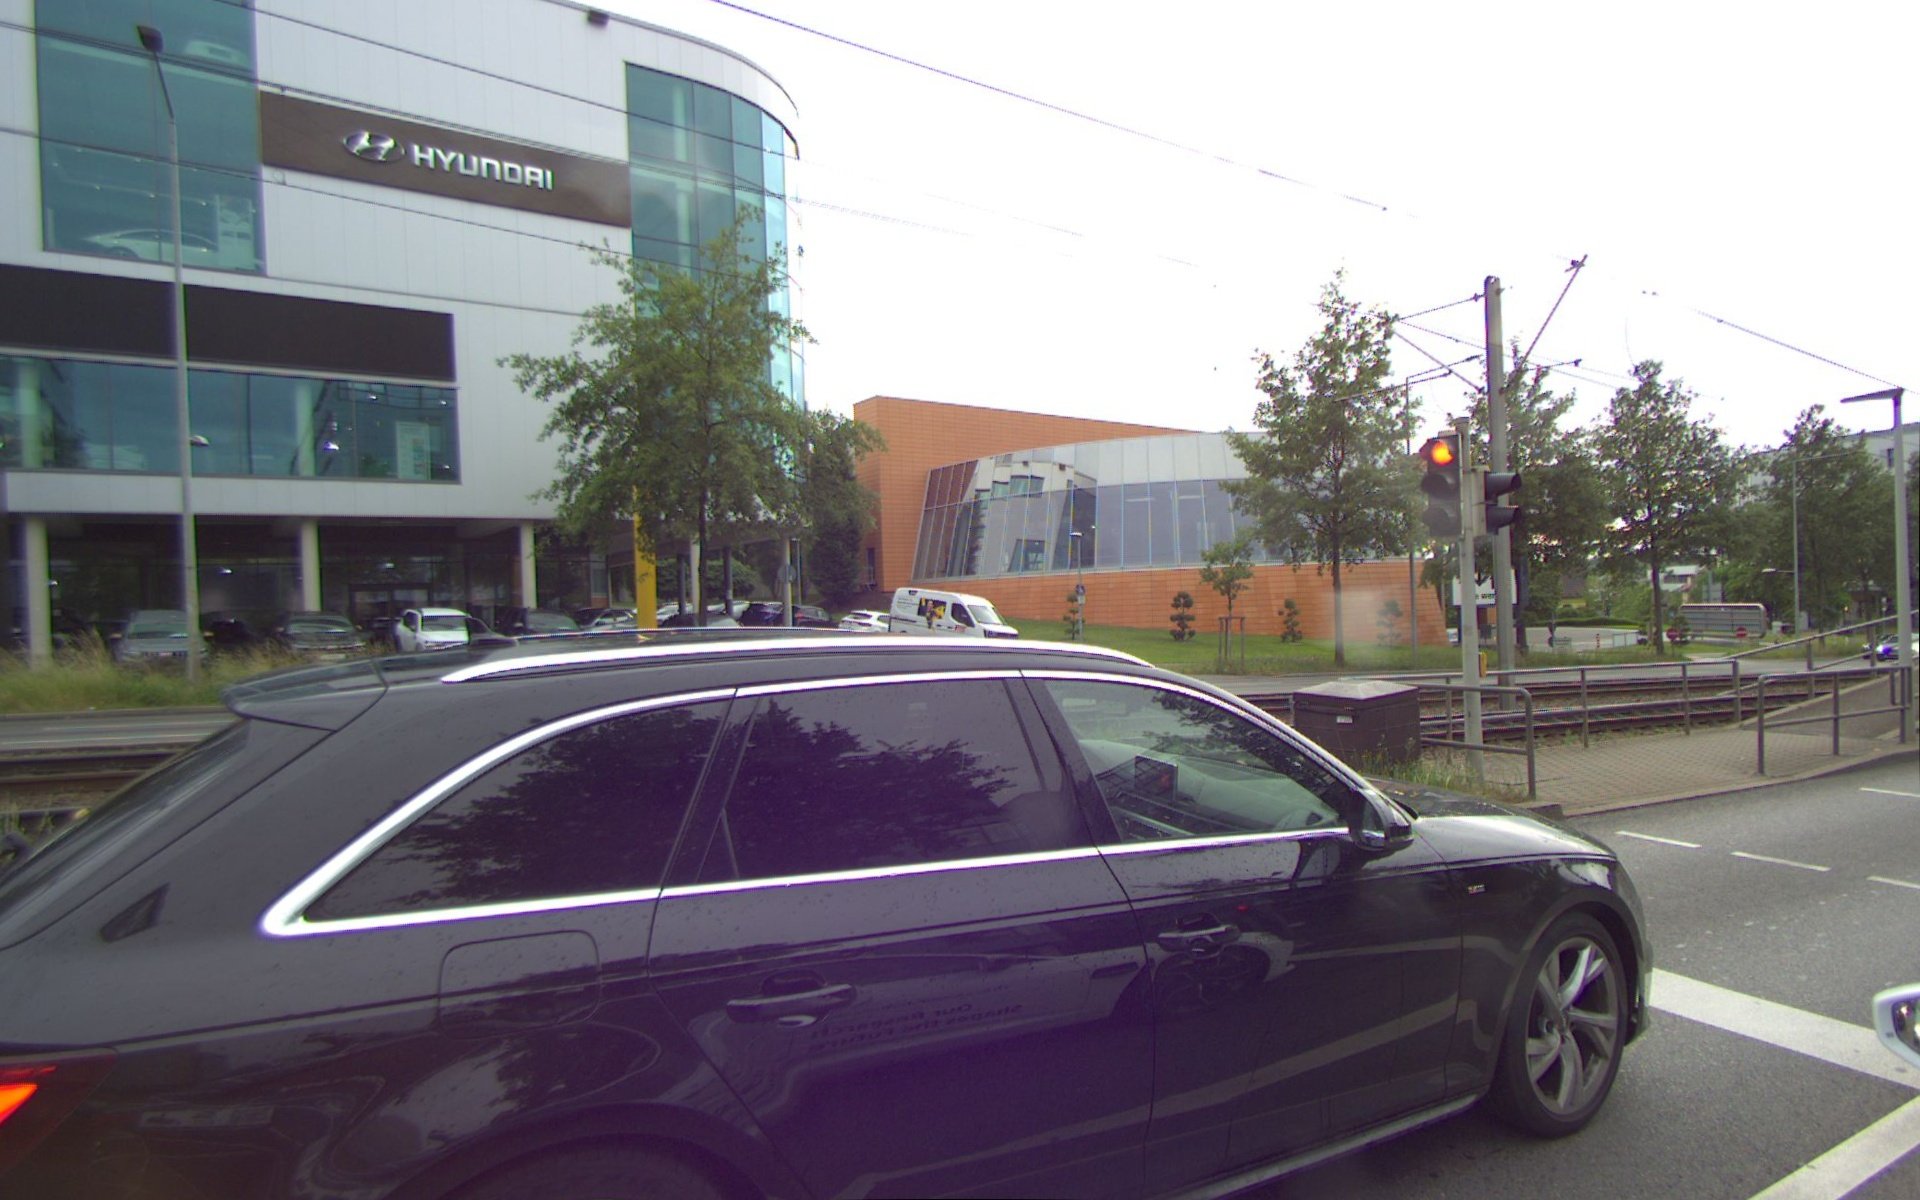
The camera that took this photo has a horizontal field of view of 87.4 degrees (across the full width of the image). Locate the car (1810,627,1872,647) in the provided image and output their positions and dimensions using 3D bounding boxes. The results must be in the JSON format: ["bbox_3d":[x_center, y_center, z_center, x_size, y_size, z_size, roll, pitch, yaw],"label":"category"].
[{"bbox_3d":[66.968,2.809,76.393,1.408,1.405,3.371,0,0,-13],"label":"car"}]

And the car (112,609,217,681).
[{"bbox_3d":[-19.872,1.056,25.063,1.917,1.479,3.974,1,1,-40],"label":"car"}]

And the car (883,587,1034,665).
[{"bbox_3d":[-0.126,0.912,38.109,5.544,2.616,2.392,3,1,43],"label":"car"}]

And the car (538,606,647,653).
[{"bbox_3d":[-12.839,1.008,35.339,1.691,1.572,3.587,0,-1,20],"label":"car"}]

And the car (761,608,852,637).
[{"bbox_3d":[-7.224,1.059,47.513,1.969,1.297,3.982,0,-1,39],"label":"car"}]

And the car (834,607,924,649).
[{"bbox_3d":[-3.346,1.159,42.159,1.703,1.688,3.734,1,-1,38],"label":"car"}]

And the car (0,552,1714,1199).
[{"bbox_3d":[0.075,0.722,2.868,4.461,1.486,1.772,1,-1,-31],"label":"car"}]

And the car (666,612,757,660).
[{"bbox_3d":[-7.909,1.092,31.787,1.565,1.409,3.619,0,-1,-36],"label":"car"}]

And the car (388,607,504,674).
[{"bbox_3d":[-14.505,1.071,28.245,1.984,1.571,4.324,1,1,-40],"label":"car"}]

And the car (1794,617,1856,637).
[{"bbox_3d":[65.178,2.004,75.716,1.408,1.405,3.371,0,0,-13],"label":"car"}]

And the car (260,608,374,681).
[{"bbox_3d":[-16.963,1.102,26.389,1.984,1.571,4.324,1,1,-40],"label":"car"}]

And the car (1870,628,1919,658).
[{"bbox_3d":[47.175,2.123,50.043,3.834,1.455,1.643,1,-3,-30],"label":"car"}]

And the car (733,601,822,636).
[{"bbox_3d":[-8.875,0.905,49.078,1.969,1.653,3.982,0,-1,39],"label":"car"}]

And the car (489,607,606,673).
[{"bbox_3d":[-12.328,1.134,29.860,1.984,1.637,4.324,1,1,-40],"label":"car"}]
